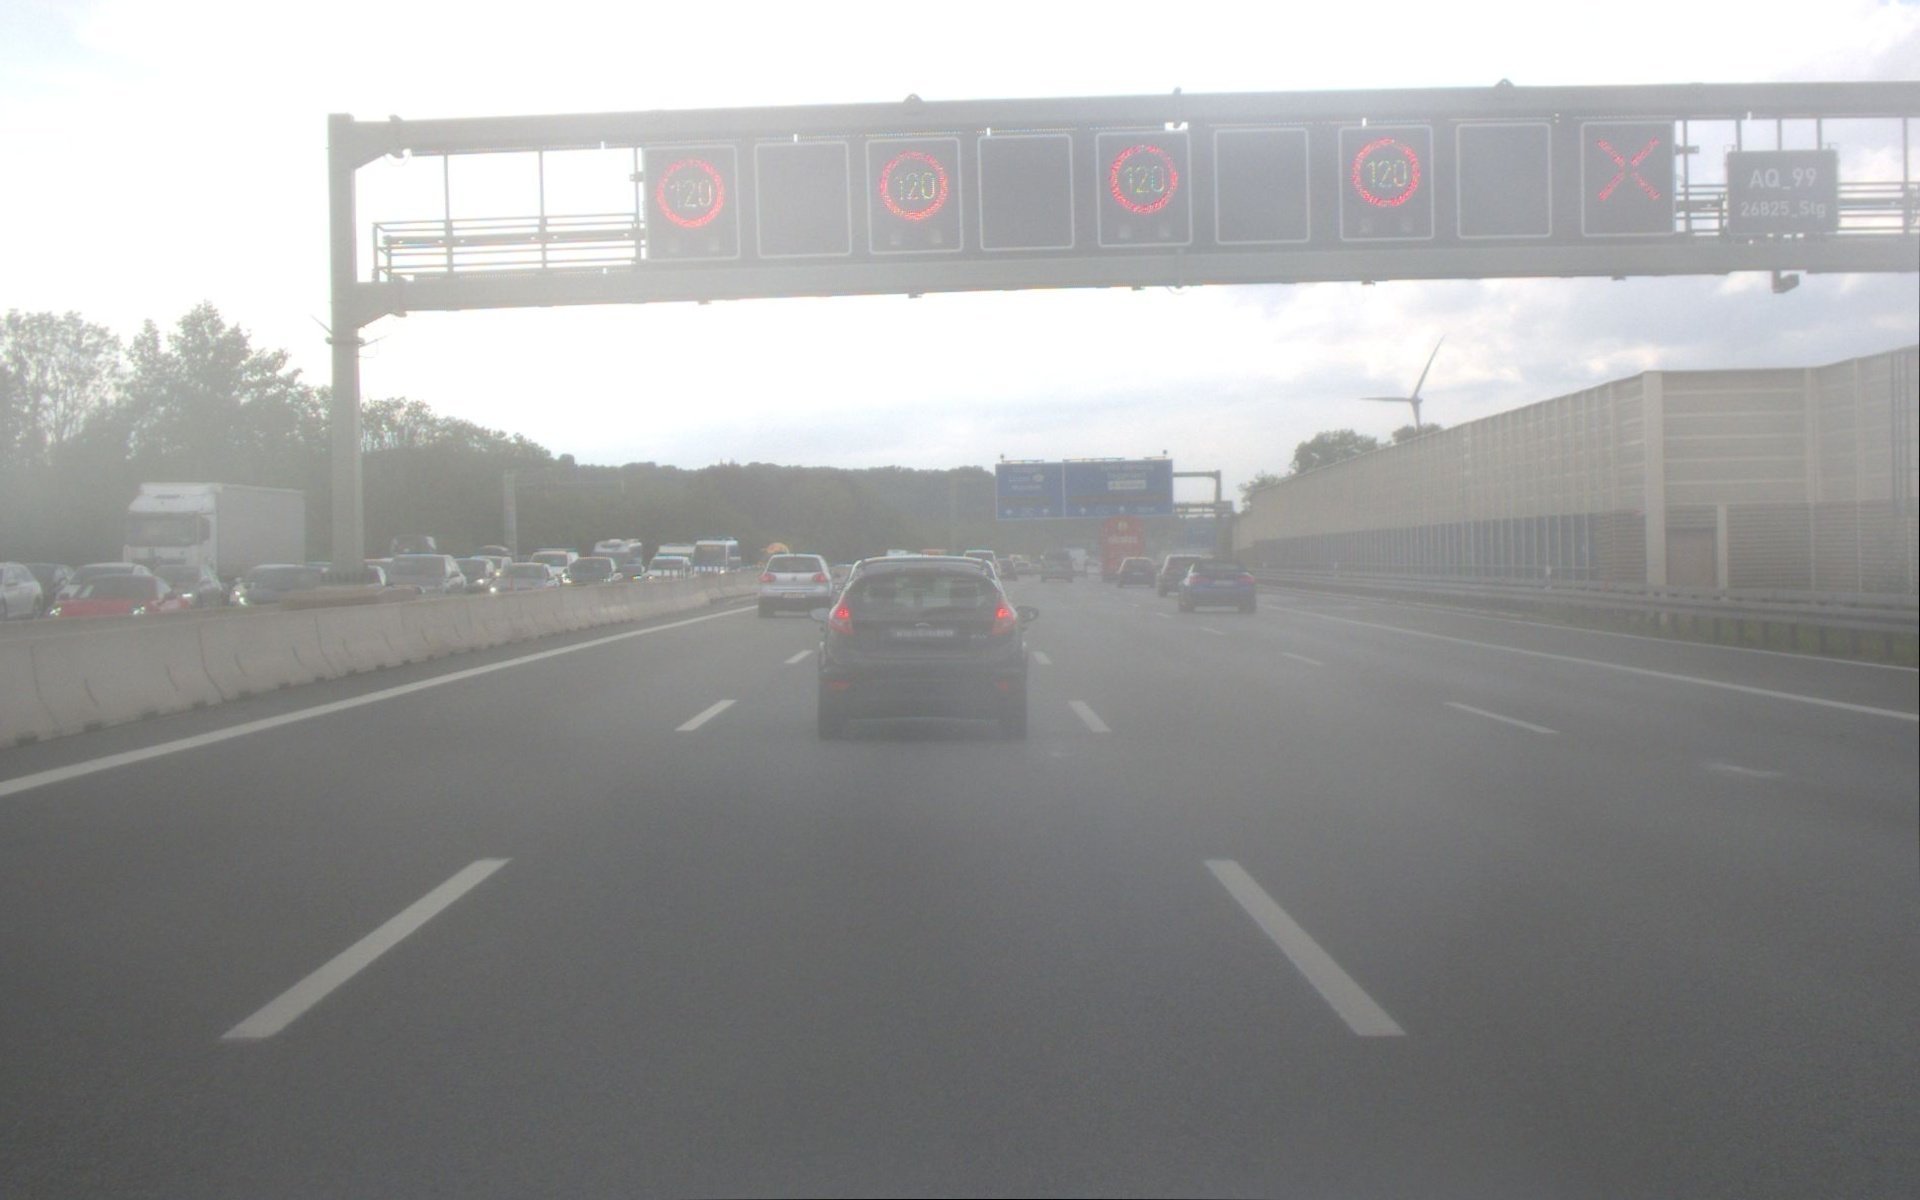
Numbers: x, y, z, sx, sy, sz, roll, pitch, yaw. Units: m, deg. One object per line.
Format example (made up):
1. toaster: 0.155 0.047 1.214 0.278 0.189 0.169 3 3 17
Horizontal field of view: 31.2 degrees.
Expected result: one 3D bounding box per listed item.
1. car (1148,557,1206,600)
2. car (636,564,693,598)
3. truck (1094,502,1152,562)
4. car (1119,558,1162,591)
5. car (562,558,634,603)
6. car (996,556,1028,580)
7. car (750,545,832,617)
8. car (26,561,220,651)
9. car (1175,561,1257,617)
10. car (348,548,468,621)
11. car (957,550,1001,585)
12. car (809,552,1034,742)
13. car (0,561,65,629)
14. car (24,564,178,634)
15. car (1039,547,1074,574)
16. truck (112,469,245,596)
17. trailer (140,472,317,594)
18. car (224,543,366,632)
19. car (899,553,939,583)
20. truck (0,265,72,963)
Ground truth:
1. car: 7.931 -0.778 126.124 1.882 1.537 4.433 -1 0 1
2. car: -13.467 -0.894 156.899 2.060 1.529 5.470 0 1 1
3. truck: 10.085 -4.223 214.355 3.152 3.589 12.699 1 1 1
4. car: 8.734 -1.222 166.781 1.882 1.555 4.433 -1 0 1
5. car: -13.469 -0.728 128.228 2.060 1.640 5.380 0 1 1
6. car: 3.416 -2.096 225.279 1.968 1.555 4.433 -1 0 0
7. car: -3.951 -0.468 81.111 1.717 1.618 4.279 0 1 0
8. car: -14.400 0.073 59.453 2.060 1.486 4.997 0 1 1
9. car: 6.669 -0.290 89.821 1.950 1.413 4.232 0 0 2
10. car: -14.554 -0.423 91.026 2.060 1.873 6.328 0 1 1
11. car: 0.896 -1.515 160.327 1.968 1.555 4.433 -1 0 1
12. car: -0.332 0.332 28.420 1.717 1.412 4.279 0 1 -1
13. car: -21.977 -0.140 77.832 2.060 1.486 4.997 0 1 1
14. car: -18.875 -0.048 75.748 2.060 1.486 4.997 0 1 1
15. car: 5.771 -2.368 206.036 1.968 1.555 4.433 -1 0 1
16. truck: -25.510 -2.199 112.484 2.972 4.021 5.726 0 1 1
17. trailer: -25.428 -2.329 120.394 2.931 4.018 14.453 0 1 1
18. car: -14.445 -0.289 74.923 2.060 1.873 4.997 0 1 1
19. car: -2.170 -1.684 181.862 1.968 1.555 4.433 -1 0 1
20. truck: -4.402 0.096 9.491 2.306 2.431 7.149 0 1 -2
